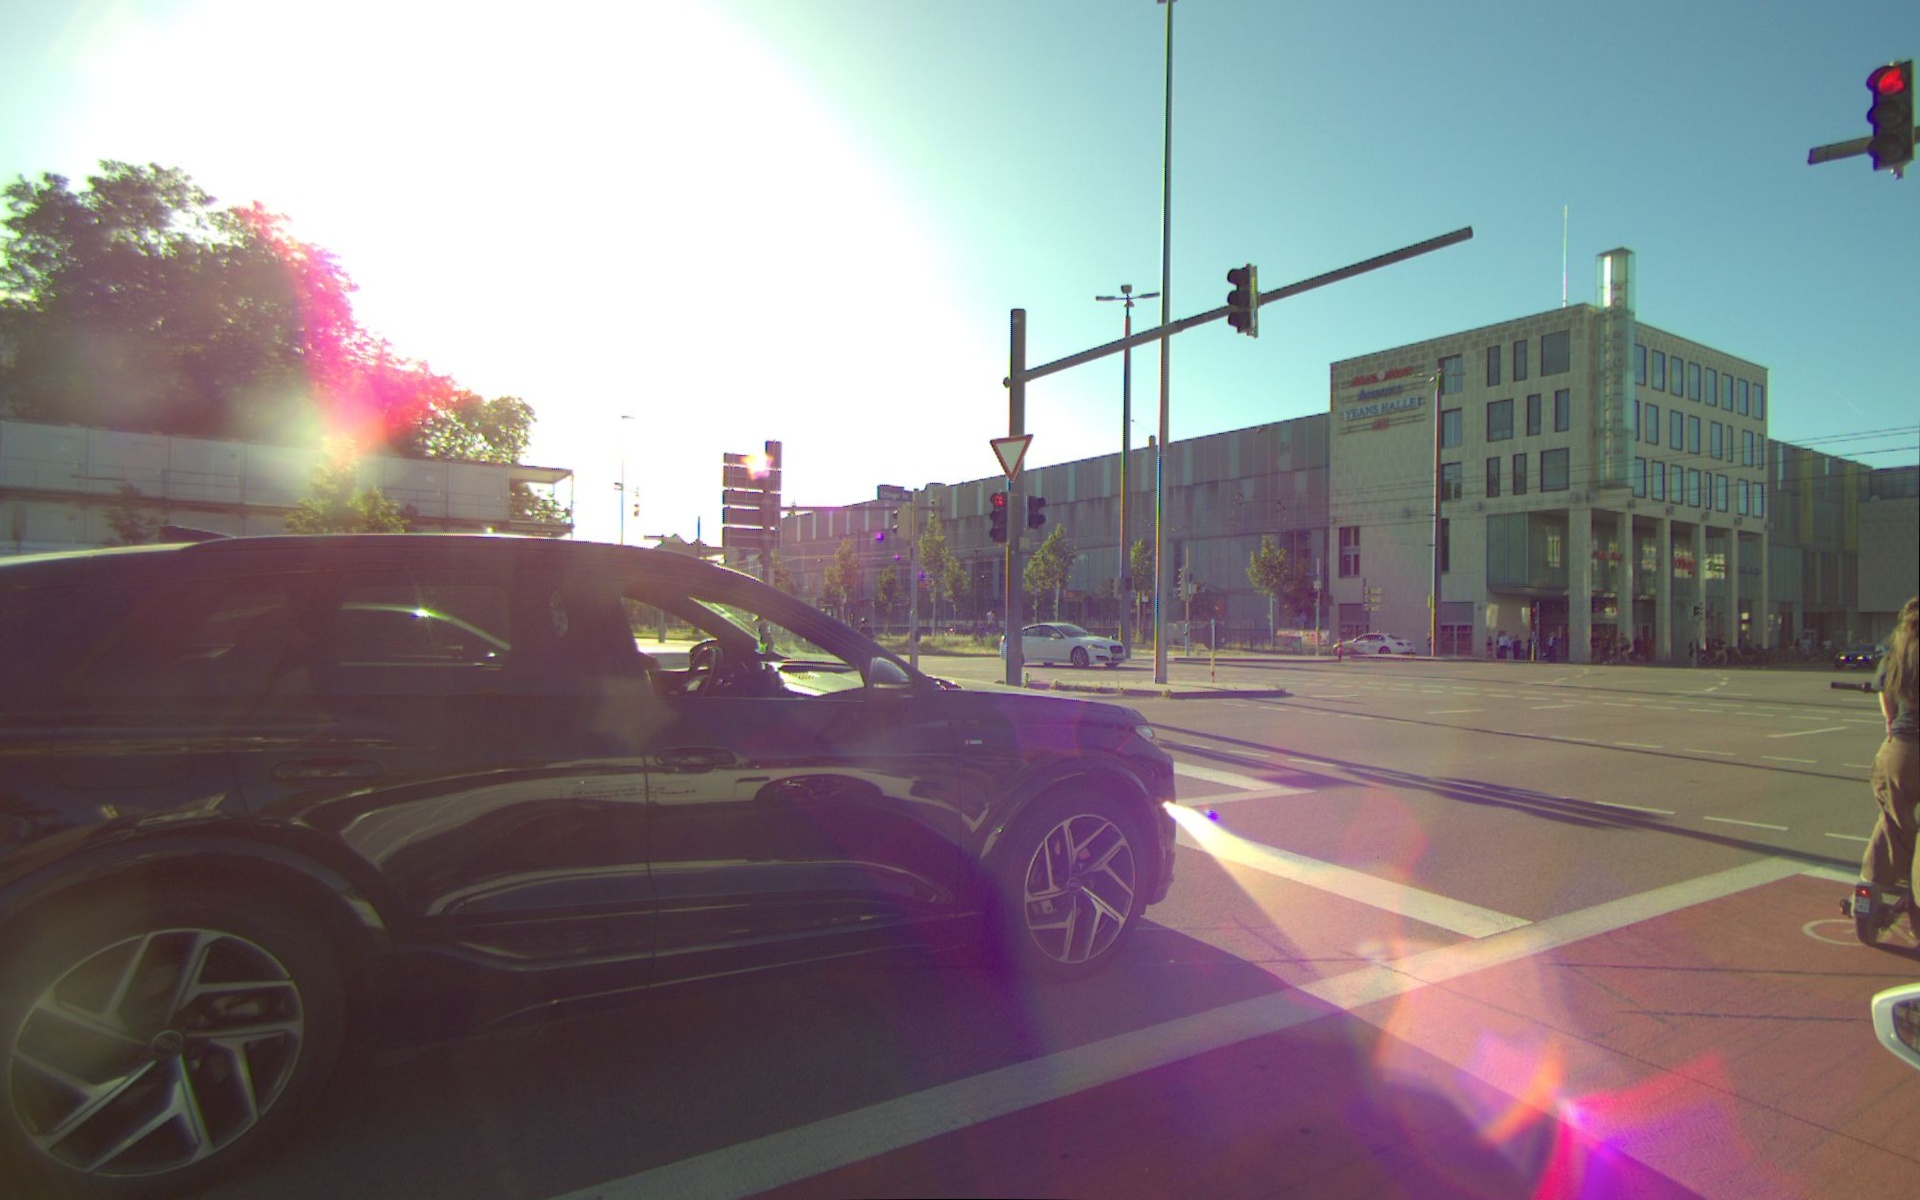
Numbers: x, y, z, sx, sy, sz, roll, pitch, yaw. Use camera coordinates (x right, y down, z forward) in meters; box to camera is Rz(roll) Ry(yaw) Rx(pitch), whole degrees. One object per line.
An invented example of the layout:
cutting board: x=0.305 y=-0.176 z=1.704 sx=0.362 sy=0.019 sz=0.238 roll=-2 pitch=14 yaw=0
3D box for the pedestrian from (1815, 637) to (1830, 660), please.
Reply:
pedestrian: x=65.610 y=3.680 z=76.392 sx=0.681 sy=1.752 sz=0.472 roll=2 pitch=0 yaw=9

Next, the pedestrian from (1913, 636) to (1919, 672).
pedestrian: x=46.280 y=2.576 z=48.169 sx=0.612 sy=1.710 sz=0.697 roll=1 pitch=-1 yaw=-29

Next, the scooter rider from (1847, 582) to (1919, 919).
scooter rider: x=4.610 y=0.699 z=4.750 sx=0.445 sy=1.550 sz=0.548 roll=1 pitch=-1 yaw=-38

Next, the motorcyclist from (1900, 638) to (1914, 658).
motorcyclist: x=70.893 y=3.581 z=75.178 sx=0.657 sy=1.424 sz=0.623 roll=2 pitch=0 yaw=-38

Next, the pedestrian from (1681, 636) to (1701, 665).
pedestrian: x=42.945 y=2.967 z=59.008 sx=0.615 sy=1.660 sz=0.777 roll=1 pitch=-1 yaw=-11

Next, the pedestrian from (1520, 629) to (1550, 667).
pedestrian: x=26.166 y=2.193 z=45.690 sx=0.994 sy=1.697 sz=0.818 roll=1 pitch=-1 yaw=-33

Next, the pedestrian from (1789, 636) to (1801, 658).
pedestrian: x=66.226 y=3.715 z=79.640 sx=0.510 sy=1.752 sz=0.472 roll=2 pitch=0 yaw=9

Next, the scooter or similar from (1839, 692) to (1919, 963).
scooter or similar: x=4.379 y=1.016 z=4.697 sx=0.832 sy=1.122 sz=0.303 roll=2 pitch=-1 yaw=-42

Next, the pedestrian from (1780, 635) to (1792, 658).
pedestrian: x=64.775 y=3.667 z=78.763 sx=0.510 sy=1.752 sz=0.472 roll=2 pitch=0 yaw=9

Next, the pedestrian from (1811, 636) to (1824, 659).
pedestrian: x=66.854 y=3.727 z=78.321 sx=0.616 sy=1.752 sz=0.471 roll=2 pitch=0 yaw=-1

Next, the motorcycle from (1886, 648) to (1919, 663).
motorcycle: x=70.905 y=4.139 z=74.912 sx=1.106 sy=1.006 sz=2.582 roll=2 pitch=0 yaw=-38

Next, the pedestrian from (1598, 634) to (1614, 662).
pedestrian: x=38.542 y=2.856 z=59.966 sx=0.622 sy=1.667 sz=0.589 roll=1 pitch=-1 yaw=-30

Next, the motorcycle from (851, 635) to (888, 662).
motorcycle: x=-3.855 y=2.048 z=42.649 sx=0.643 sy=1.115 sz=1.940 roll=1 pitch=-1 yaw=-37

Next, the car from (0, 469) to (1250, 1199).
car: x=-1.254 y=0.605 z=4.074 sx=4.613 sy=1.729 sz=2.153 roll=1 pitch=0 yaw=-32

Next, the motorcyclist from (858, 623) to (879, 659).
motorcyclist: x=-3.891 y=1.729 z=42.704 sx=0.594 sy=1.499 sz=0.744 roll=1 pitch=-1 yaw=-37

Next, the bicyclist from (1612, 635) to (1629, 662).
bicyclist: x=36.727 y=2.688 z=55.857 sx=0.577 sy=1.467 sz=0.628 roll=1 pitch=-1 yaw=-3

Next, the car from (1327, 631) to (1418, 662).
car: x=24.395 y=2.742 z=59.519 sx=1.807 sy=1.706 sz=4.814 roll=1 pitch=-2 yaw=-35

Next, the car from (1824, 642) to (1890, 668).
car: x=49.626 y=3.008 z=55.562 sx=3.975 sy=1.375 sz=1.668 roll=1 pitch=-1 yaw=-31

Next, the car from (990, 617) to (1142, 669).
car: x=3.471 y=1.395 z=33.748 sx=1.986 sy=1.585 sz=5.036 roll=2 pitch=-2 yaw=-43

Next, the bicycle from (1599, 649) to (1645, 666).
bicycle: x=36.800 y=3.198 z=55.861 sx=2.175 sy=0.915 sz=0.637 roll=1 pitch=-1 yaw=-2

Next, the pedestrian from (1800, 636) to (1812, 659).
pedestrian: x=66.465 y=3.732 z=78.887 sx=0.510 sy=1.705 sz=0.472 roll=2 pitch=0 yaw=9

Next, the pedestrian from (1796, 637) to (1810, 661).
pedestrian: x=64.423 y=3.727 z=76.786 sx=0.615 sy=1.752 sz=0.472 roll=2 pitch=0 yaw=4

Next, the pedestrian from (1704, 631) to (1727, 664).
pedestrian: x=43.721 y=2.751 z=58.138 sx=0.529 sy=1.889 sz=0.943 roll=1 pitch=-1 yaw=-13
